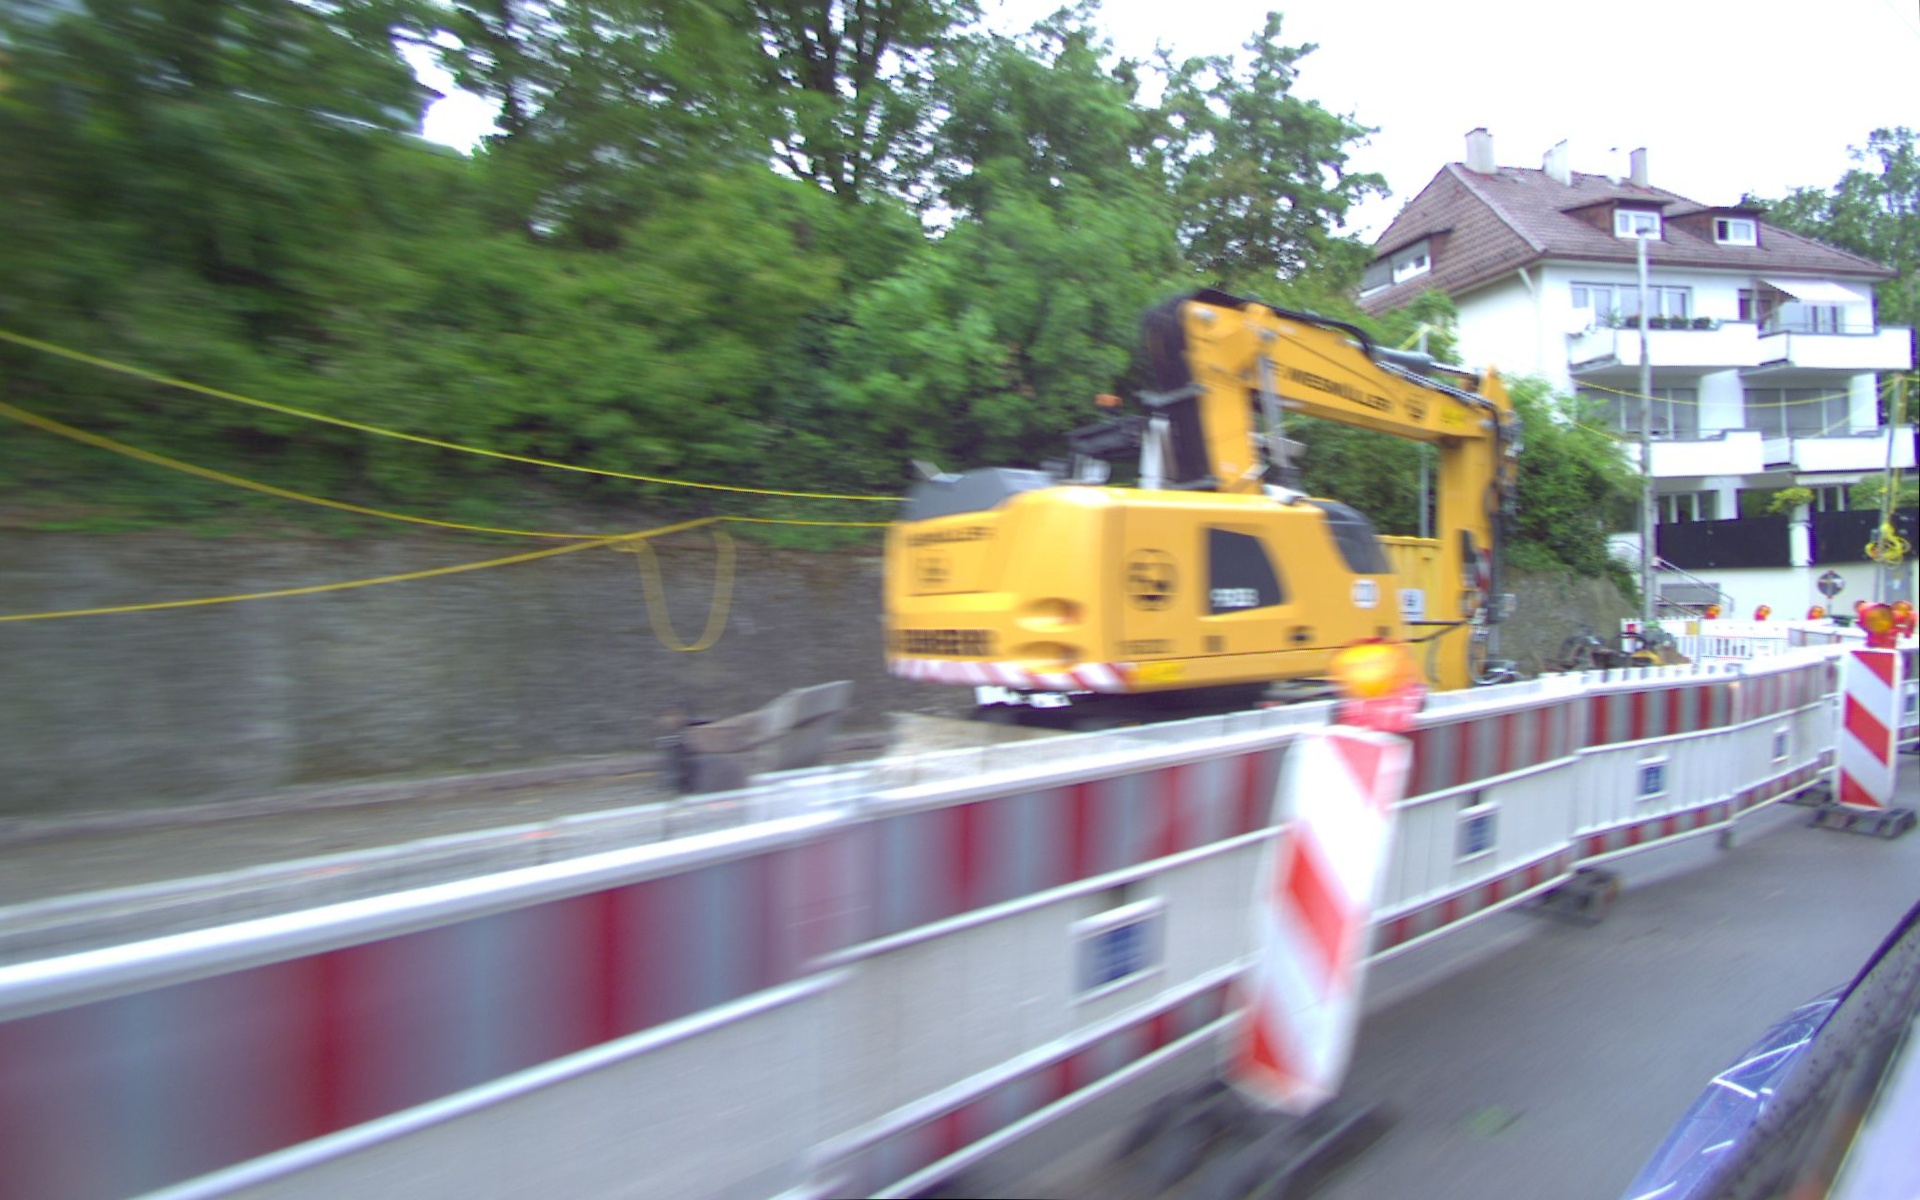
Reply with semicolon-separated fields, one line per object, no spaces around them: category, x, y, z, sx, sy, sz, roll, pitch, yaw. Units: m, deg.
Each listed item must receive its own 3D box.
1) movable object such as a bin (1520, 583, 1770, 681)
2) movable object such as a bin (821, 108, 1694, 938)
movable object such as a bin;11.941;0.499;17.641;3.919;1.539;2.002;0;0;-28
movable object such as a bin;2.749;-0.421;8.147;7.185;4.065;2.829;0;1;-34
